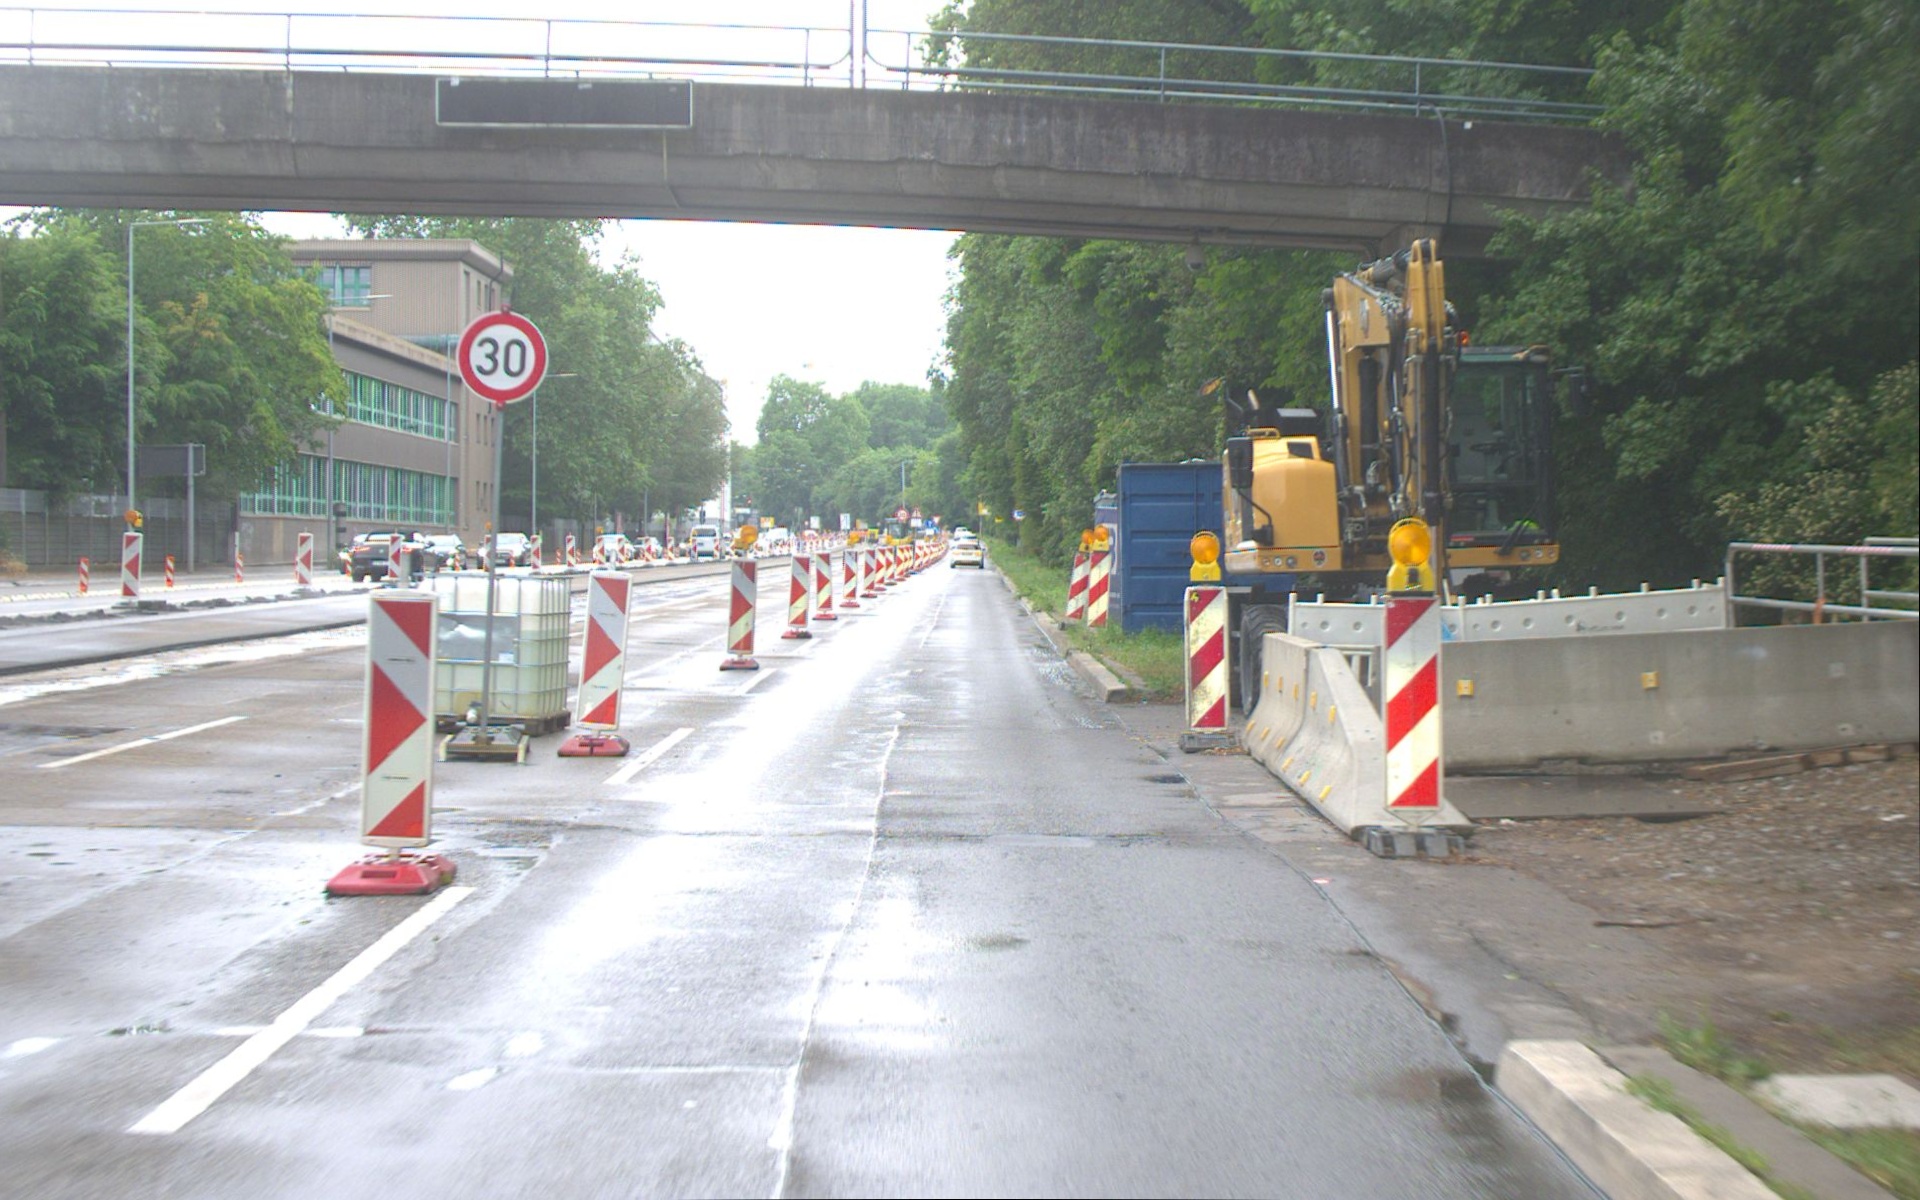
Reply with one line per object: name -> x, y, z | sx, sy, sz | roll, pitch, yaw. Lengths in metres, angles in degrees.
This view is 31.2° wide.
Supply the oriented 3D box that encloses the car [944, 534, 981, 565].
car -> 0.134, -2.754, 187.332 | 1.993, 1.634, 4.000 | 0, 1, 0
